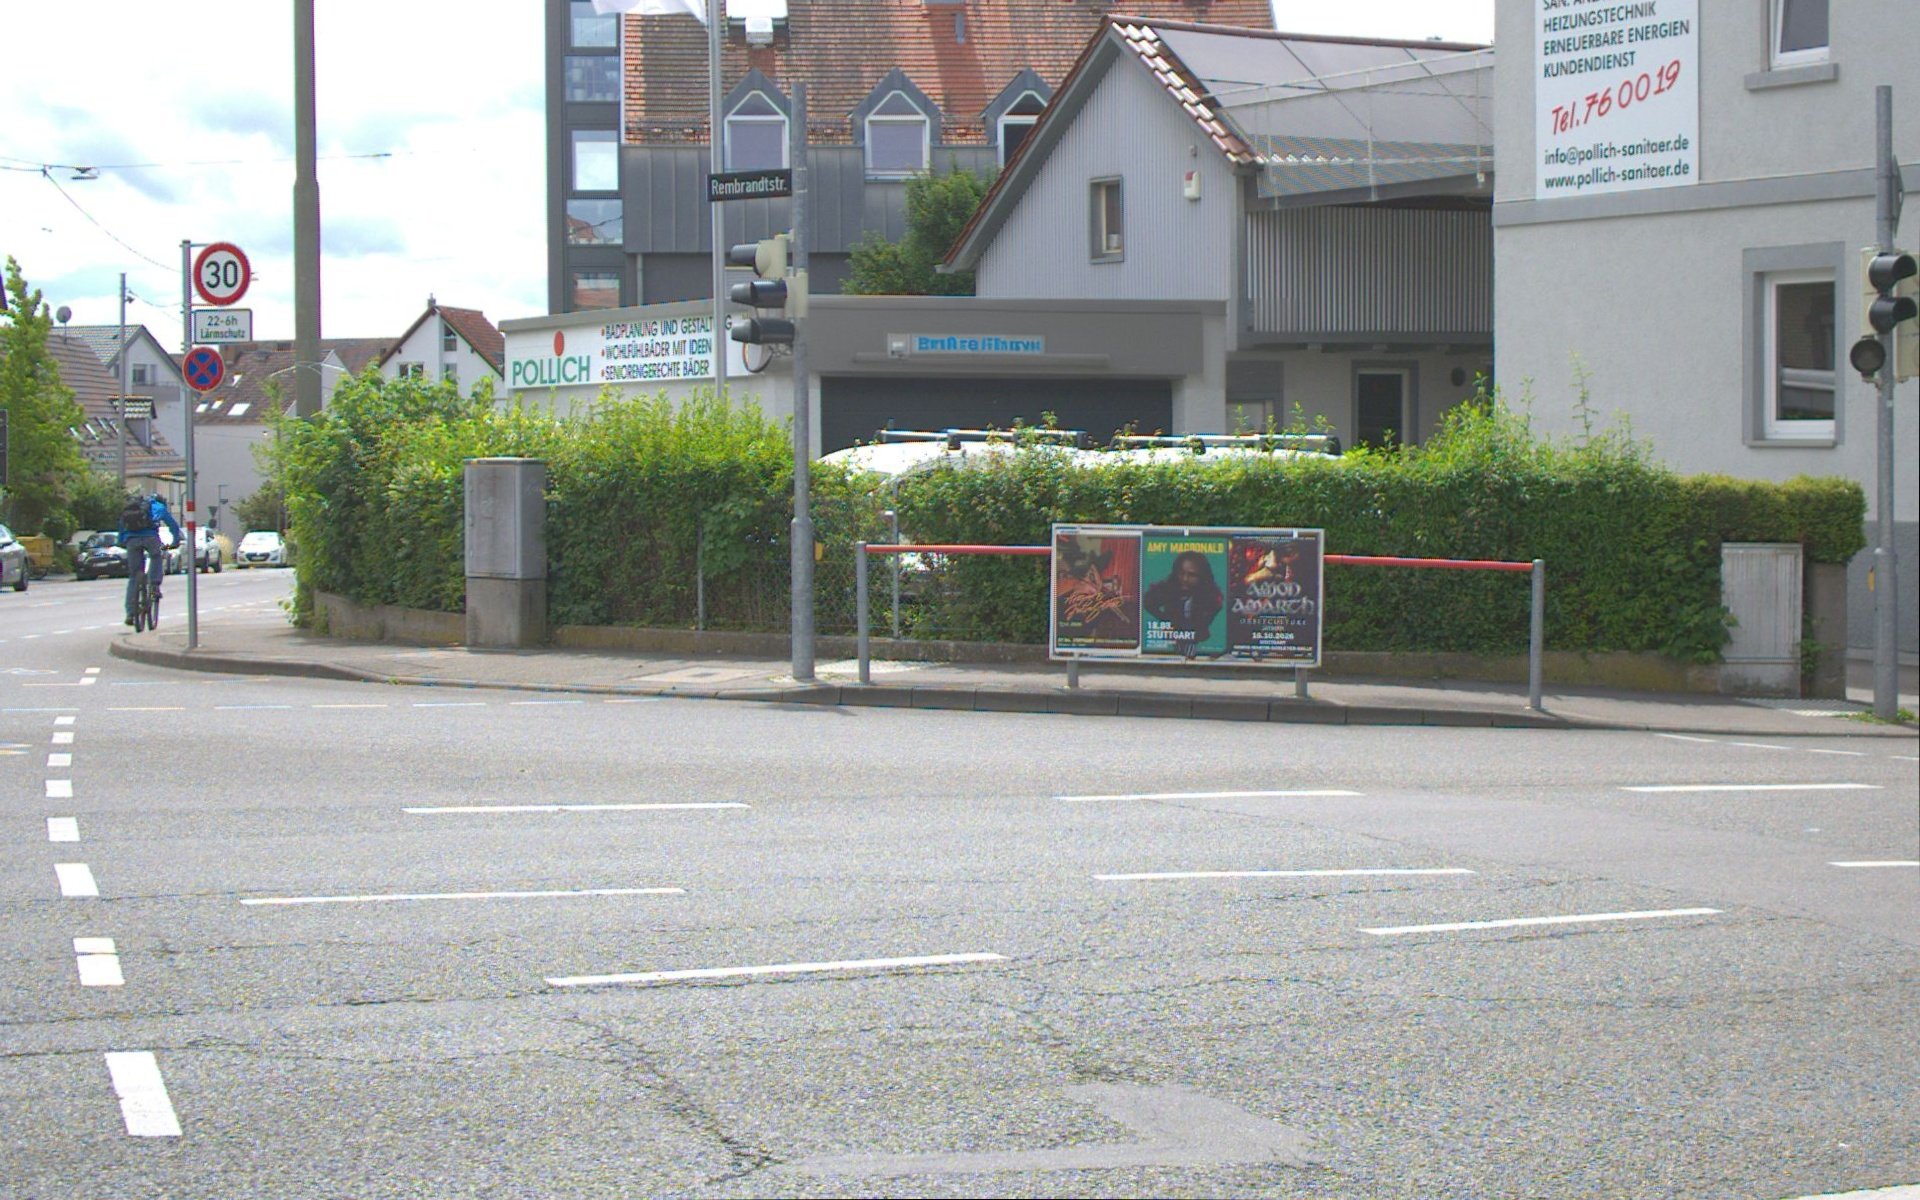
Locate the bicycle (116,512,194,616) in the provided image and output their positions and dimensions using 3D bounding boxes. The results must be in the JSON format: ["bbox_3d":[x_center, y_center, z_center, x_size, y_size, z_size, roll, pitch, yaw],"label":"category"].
[{"bbox_3d":[-9.437,-0.435,40.253,0.832,1.160,2.192,0,2,-15],"label":"bicycle"}]

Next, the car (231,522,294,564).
[{"bbox_3d":[-28.837,-2.379,142.168,1.993,1.634,4.001,1,2,-3],"label":"car"}]

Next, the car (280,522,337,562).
[{"bbox_3d":[-28.820,-2.575,152.192,1.993,1.634,4.001,1,2,-3],"label":"car"}]

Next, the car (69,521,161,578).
[{"bbox_3d":[-25.495,-1.541,103.834,1.993,1.634,4.001,1,2,-3],"label":"car"}]

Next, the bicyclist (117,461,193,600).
[{"bbox_3d":[-9.438,-0.820,40.276,0.840,1.608,1.083,0,2,-14],"label":"bicyclist"}]

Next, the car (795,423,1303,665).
[{"bbox_3d":[0.788,-0.504,30.282,3.986,2.006,2.000,0,2,-29],"label":"car"}]

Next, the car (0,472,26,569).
[{"bbox_3d":[-20.938,-1.673,71.704,1.993,2.006,4.001,1,2,-3],"label":"car"}]

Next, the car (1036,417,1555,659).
[{"bbox_3d":[2.886,-0.530,29.515,3.986,1.941,2.000,0,2,-30],"label":"car"}]
